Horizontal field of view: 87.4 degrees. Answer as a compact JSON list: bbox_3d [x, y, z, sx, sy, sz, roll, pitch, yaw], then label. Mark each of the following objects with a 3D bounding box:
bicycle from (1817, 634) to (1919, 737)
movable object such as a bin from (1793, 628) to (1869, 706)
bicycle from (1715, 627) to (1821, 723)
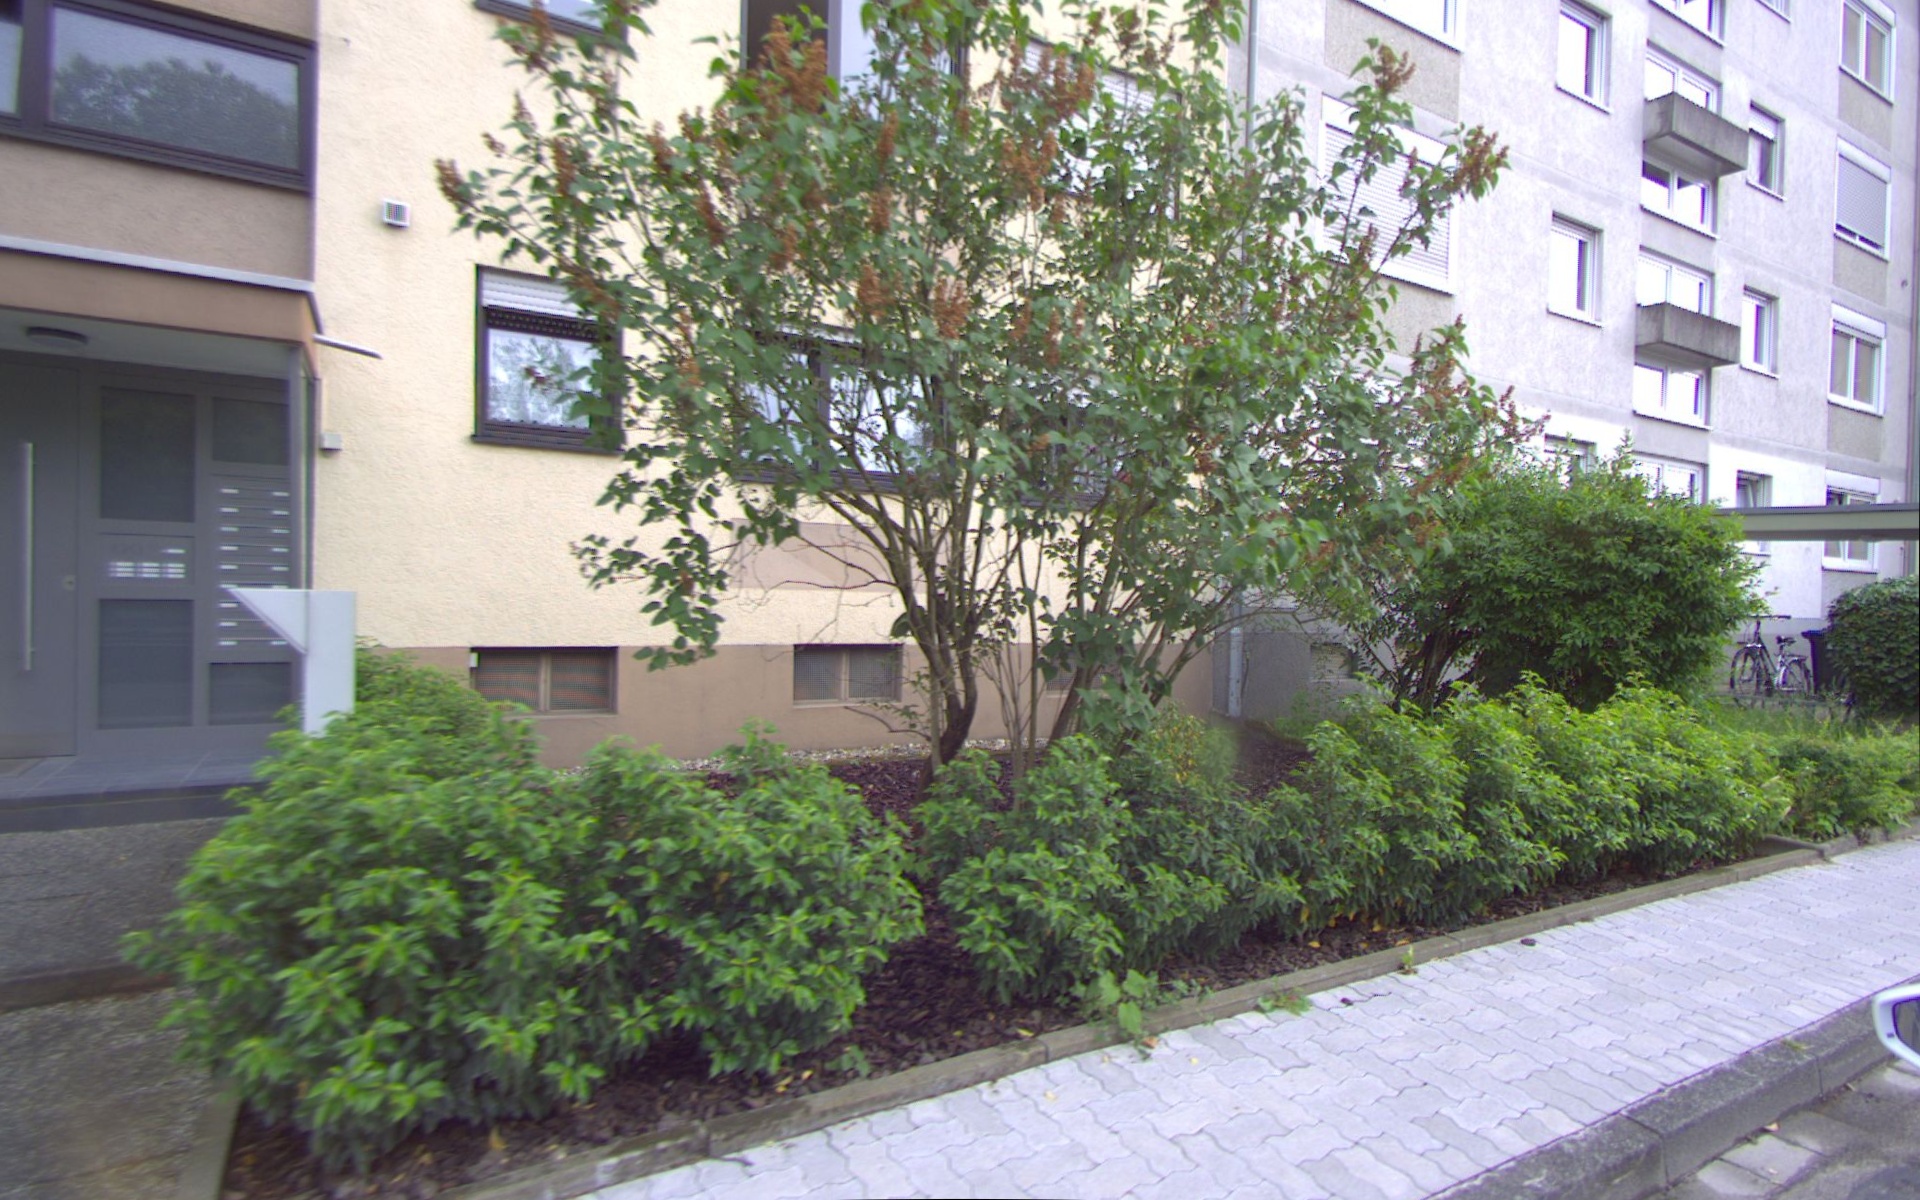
[{"bbox_3d":[10.151,0.922,11.125,1.528,1.048,0.451,1,3,-30],"label":"bicycle"},{"bbox_3d":[11.995,0.914,13.844,0.569,1.033,0.537,1,1,-9],"label":"movable object such as a bin"},{"bbox_3d":[9.421,0.850,11.701,1.528,1.048,0.372,1,3,-30],"label":"bicycle"}]
